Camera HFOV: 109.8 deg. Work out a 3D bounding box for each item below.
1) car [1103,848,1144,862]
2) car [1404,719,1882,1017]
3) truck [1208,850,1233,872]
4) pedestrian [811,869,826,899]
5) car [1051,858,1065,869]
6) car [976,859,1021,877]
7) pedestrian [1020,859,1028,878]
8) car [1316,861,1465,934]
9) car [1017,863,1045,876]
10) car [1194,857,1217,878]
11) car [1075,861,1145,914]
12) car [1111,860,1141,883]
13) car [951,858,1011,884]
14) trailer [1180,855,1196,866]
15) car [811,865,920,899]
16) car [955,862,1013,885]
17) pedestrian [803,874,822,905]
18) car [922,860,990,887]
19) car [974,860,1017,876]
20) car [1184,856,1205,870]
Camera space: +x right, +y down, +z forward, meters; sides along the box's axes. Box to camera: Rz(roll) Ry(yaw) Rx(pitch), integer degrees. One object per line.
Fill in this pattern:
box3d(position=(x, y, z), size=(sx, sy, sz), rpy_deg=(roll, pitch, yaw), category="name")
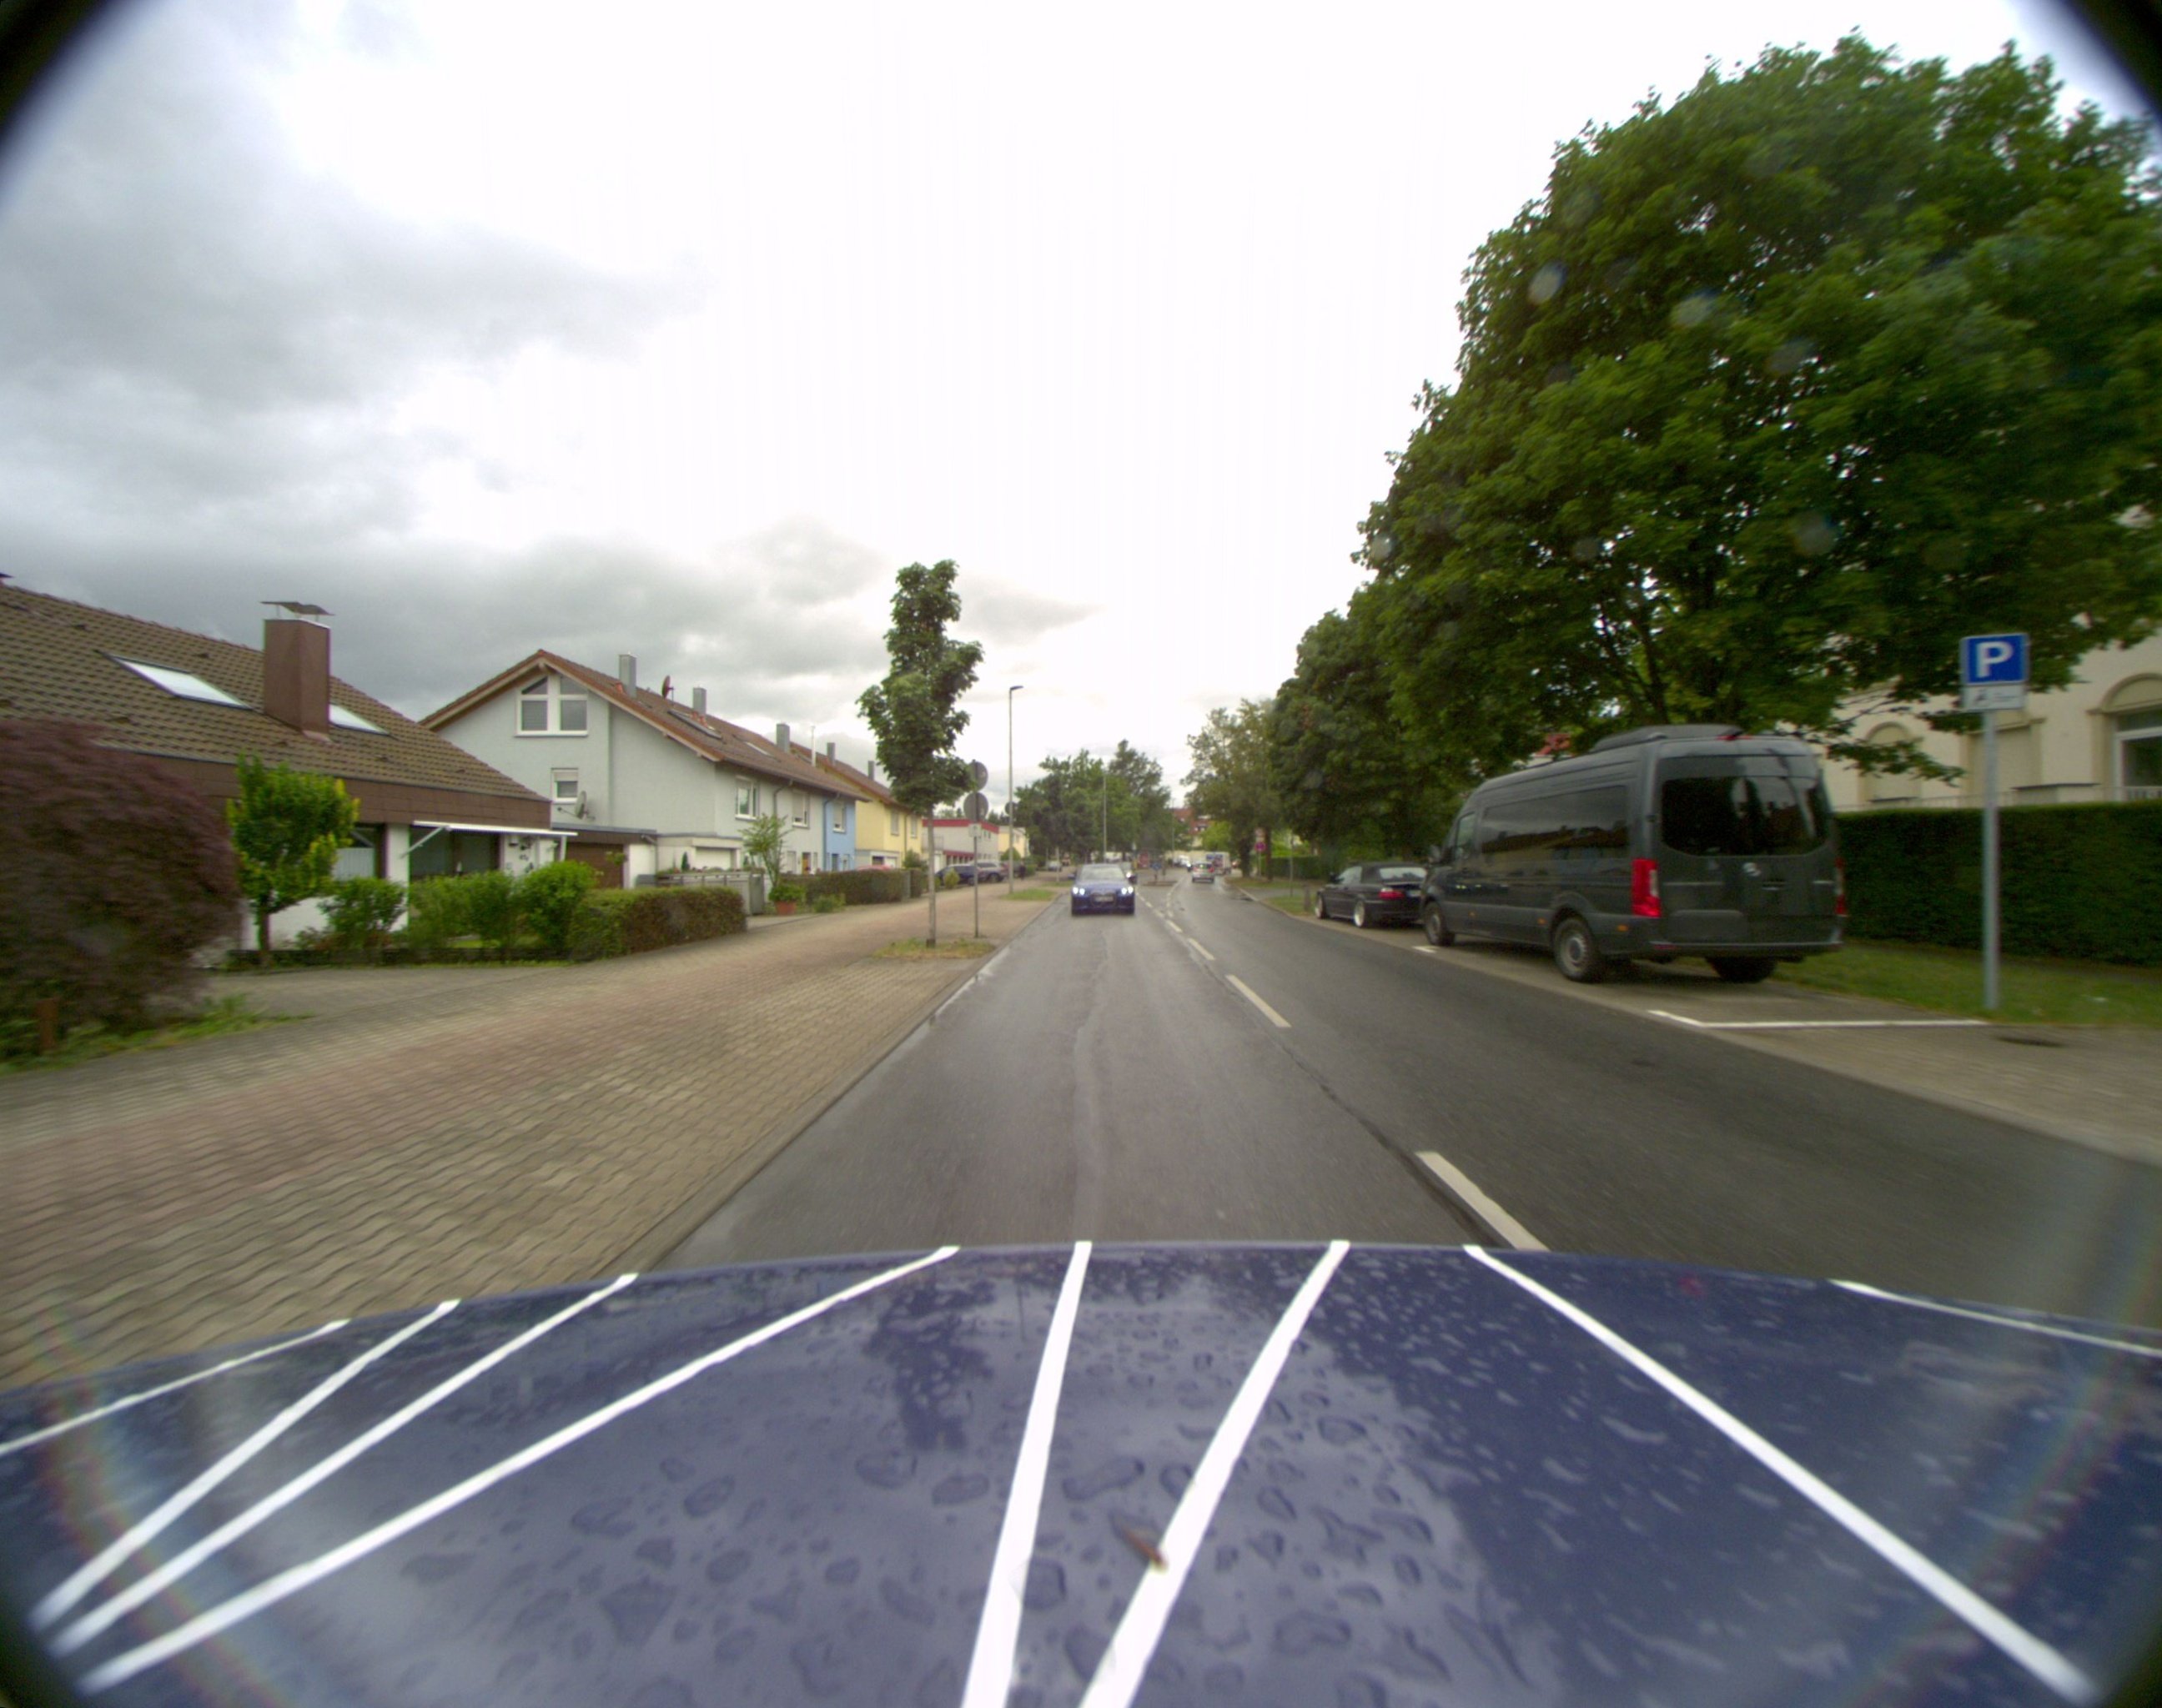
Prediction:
box3d(position=(6.499, 0.142, 115.858), size=(5.824, 2.002, 2.004), rpy_deg=(0, 1, 26), category="car")
box3d(position=(6.494, 0.168, 10.054), size=(1.998, 2.712, 5.939), rpy_deg=(-2, -1, 2), category="car")
box3d(position=(14.763, 0.737, 80.043), size=(2.220, 2.190, 6.471), rpy_deg=(0, 0, 13), category="truck")
box3d(position=(-11.825, 1.338, 34.252), size=(0.537, 1.343, 0.529), rpy_deg=(-1, 0, -12), category="pedestrian")
box3d(position=(-3.243, 1.281, 107.682), size=(1.691, 1.501, 3.827), rpy_deg=(-1, 0, 3), category="car")
box3d(position=(-7.804, 1.331, 72.165), size=(3.997, 1.711, 1.924), rpy_deg=(0, 0, 0), category="car")
box3d(position=(-4.726, 1.216, 62.858), size=(0.666, 1.549, 0.842), rpy_deg=(-1, 0, -4), category="pedestrian")
box3d(position=(6.510, 0.848, 16.449), size=(1.727, 1.400, 3.826), rpy_deg=(0, 0, 1), category="car")
box3d(position=(-6.734, 2.042, 102.000), size=(3.621, 1.524, 1.762), rpy_deg=(2, 0, -2), category="car")
box3d(position=(9.115, 0.983, 55.716), size=(1.597, 1.455, 3.455), rpy_deg=(0, 0, 9), category="car")
box3d(position=(0.810, 0.996, 23.337), size=(1.913, 1.424, 4.302), rpy_deg=(-2, -2, 0), category="car")
box3d(position=(2.970, 1.125, 50.540), size=(1.840, 1.440, 4.000), rpy_deg=(-1, 0, 1), category="car")
box3d(position=(-7.246, 1.248, 55.138), size=(4.192, 1.662, 1.721), rpy_deg=(-3, 0, -6), category="car")
box3d(position=(15.667, 0.935, 111.383), size=(1.998, 1.534, 4.426), rpy_deg=(0, 0, 2), category="trailer")
box3d(position=(-9.098, 1.178, 32.338), size=(4.318, 1.253, 1.678), rpy_deg=(-2, 0, -12), category="car")
box3d(position=(-7.416, 1.473, 58.367), size=(4.189, 1.662, 1.992), rpy_deg=(0, 0, 2), category="car")
box3d(position=(-11.867, 1.546, 33.597), size=(0.496, 1.343, 0.565), rpy_deg=(-1, 0, 24), category="pedestrian")
box3d(position=(-7.907, 1.223, 48.233), size=(3.998, 1.378, 1.675), rpy_deg=(-4, -2, -3), category="car")
box3d(position=(-7.801, 1.303, 69.559), size=(3.701, 1.433, 1.707), rpy_deg=(0, 0, 0), category="car")
box3d(position=(12.932, 1.046, 86.409), size=(1.838, 1.541, 4.005), rpy_deg=(-1, 0, 17), category="car")
